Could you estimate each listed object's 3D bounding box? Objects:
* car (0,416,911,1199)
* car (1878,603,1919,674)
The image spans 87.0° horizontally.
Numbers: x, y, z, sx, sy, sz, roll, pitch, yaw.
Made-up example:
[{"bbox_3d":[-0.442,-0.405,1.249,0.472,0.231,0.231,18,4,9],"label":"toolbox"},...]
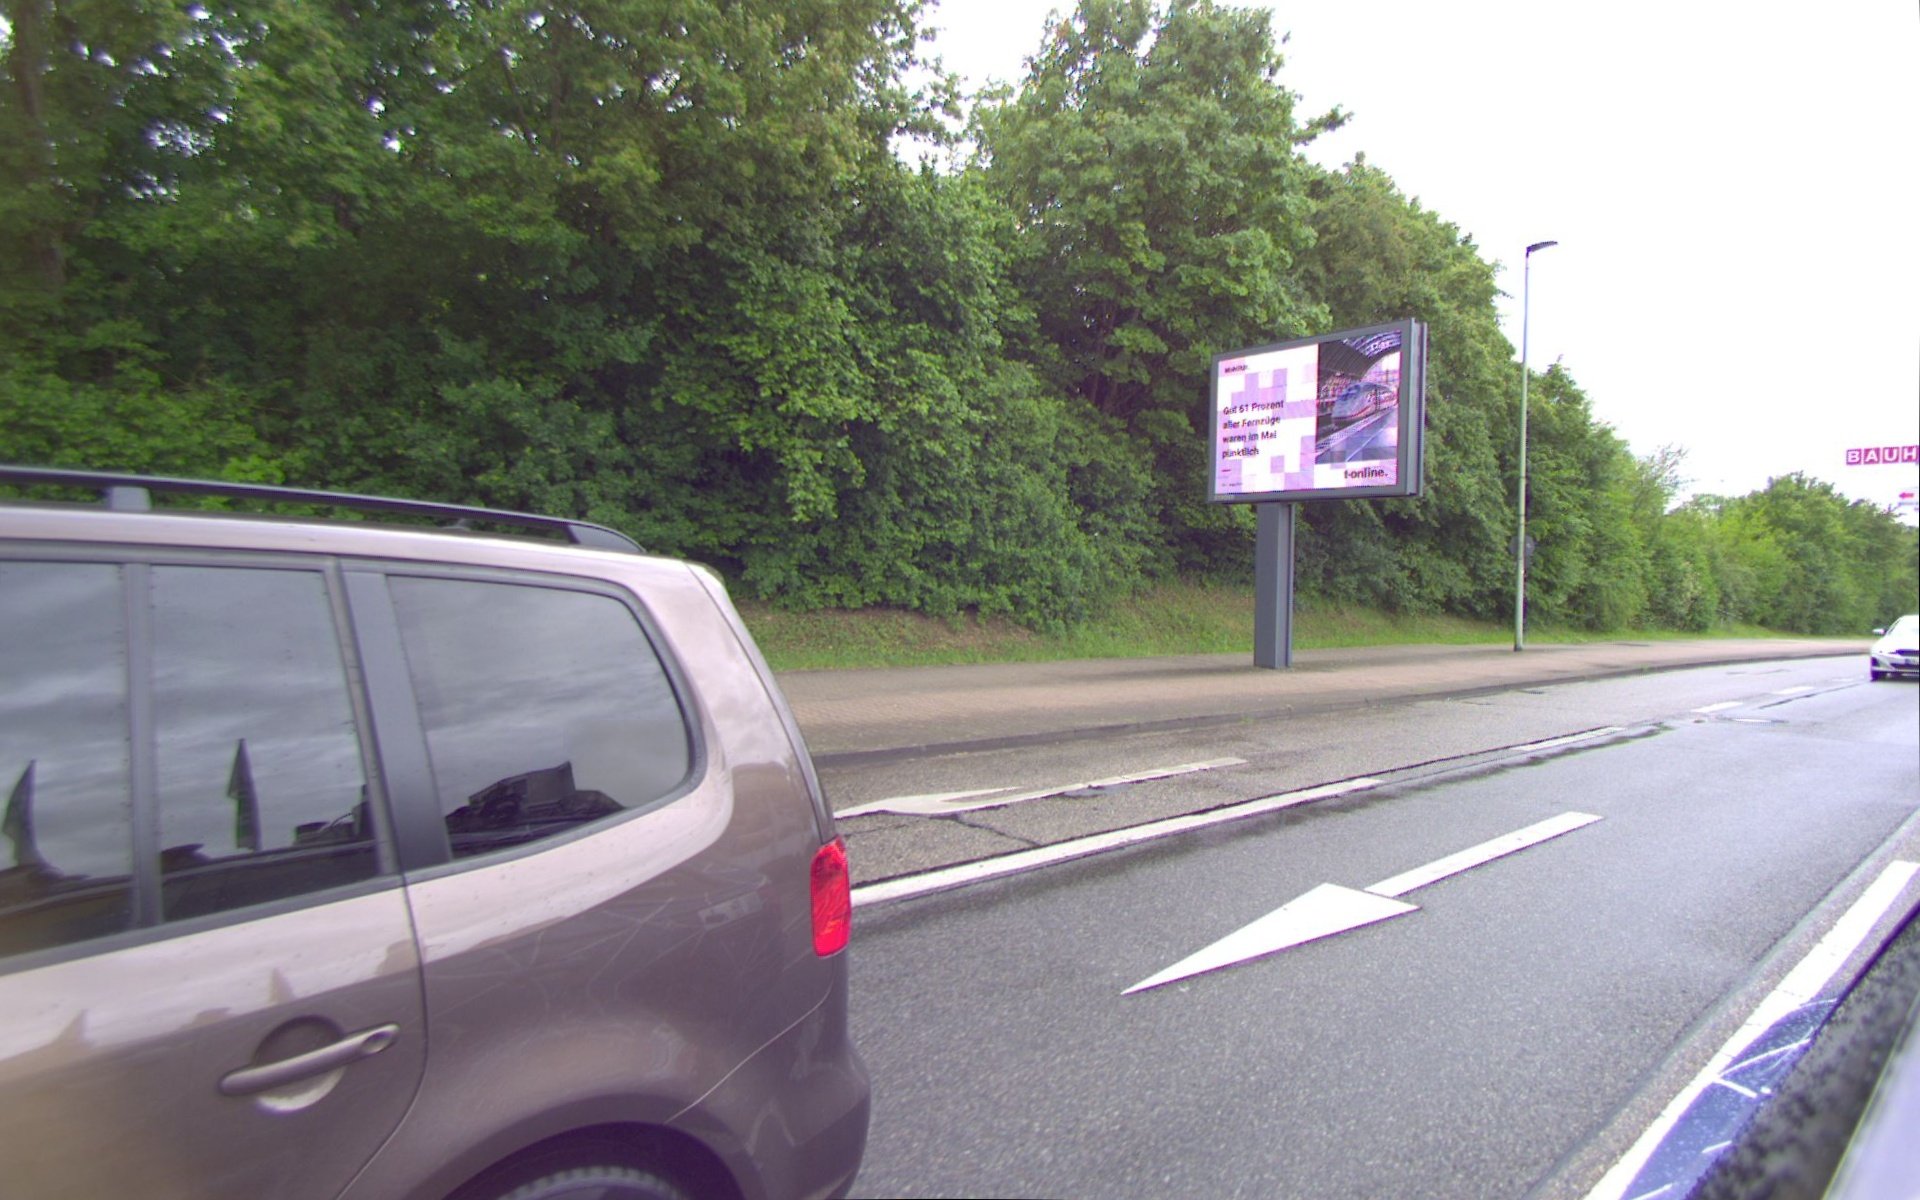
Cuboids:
[{"bbox_3d":[-2.183,0.585,1.200,4.058,1.617,1.717,1,0,-42],"label":"car"},{"bbox_3d":[22.412,0.886,22.734,3.924,1.500,1.865,2,0,-36],"label":"car"}]
